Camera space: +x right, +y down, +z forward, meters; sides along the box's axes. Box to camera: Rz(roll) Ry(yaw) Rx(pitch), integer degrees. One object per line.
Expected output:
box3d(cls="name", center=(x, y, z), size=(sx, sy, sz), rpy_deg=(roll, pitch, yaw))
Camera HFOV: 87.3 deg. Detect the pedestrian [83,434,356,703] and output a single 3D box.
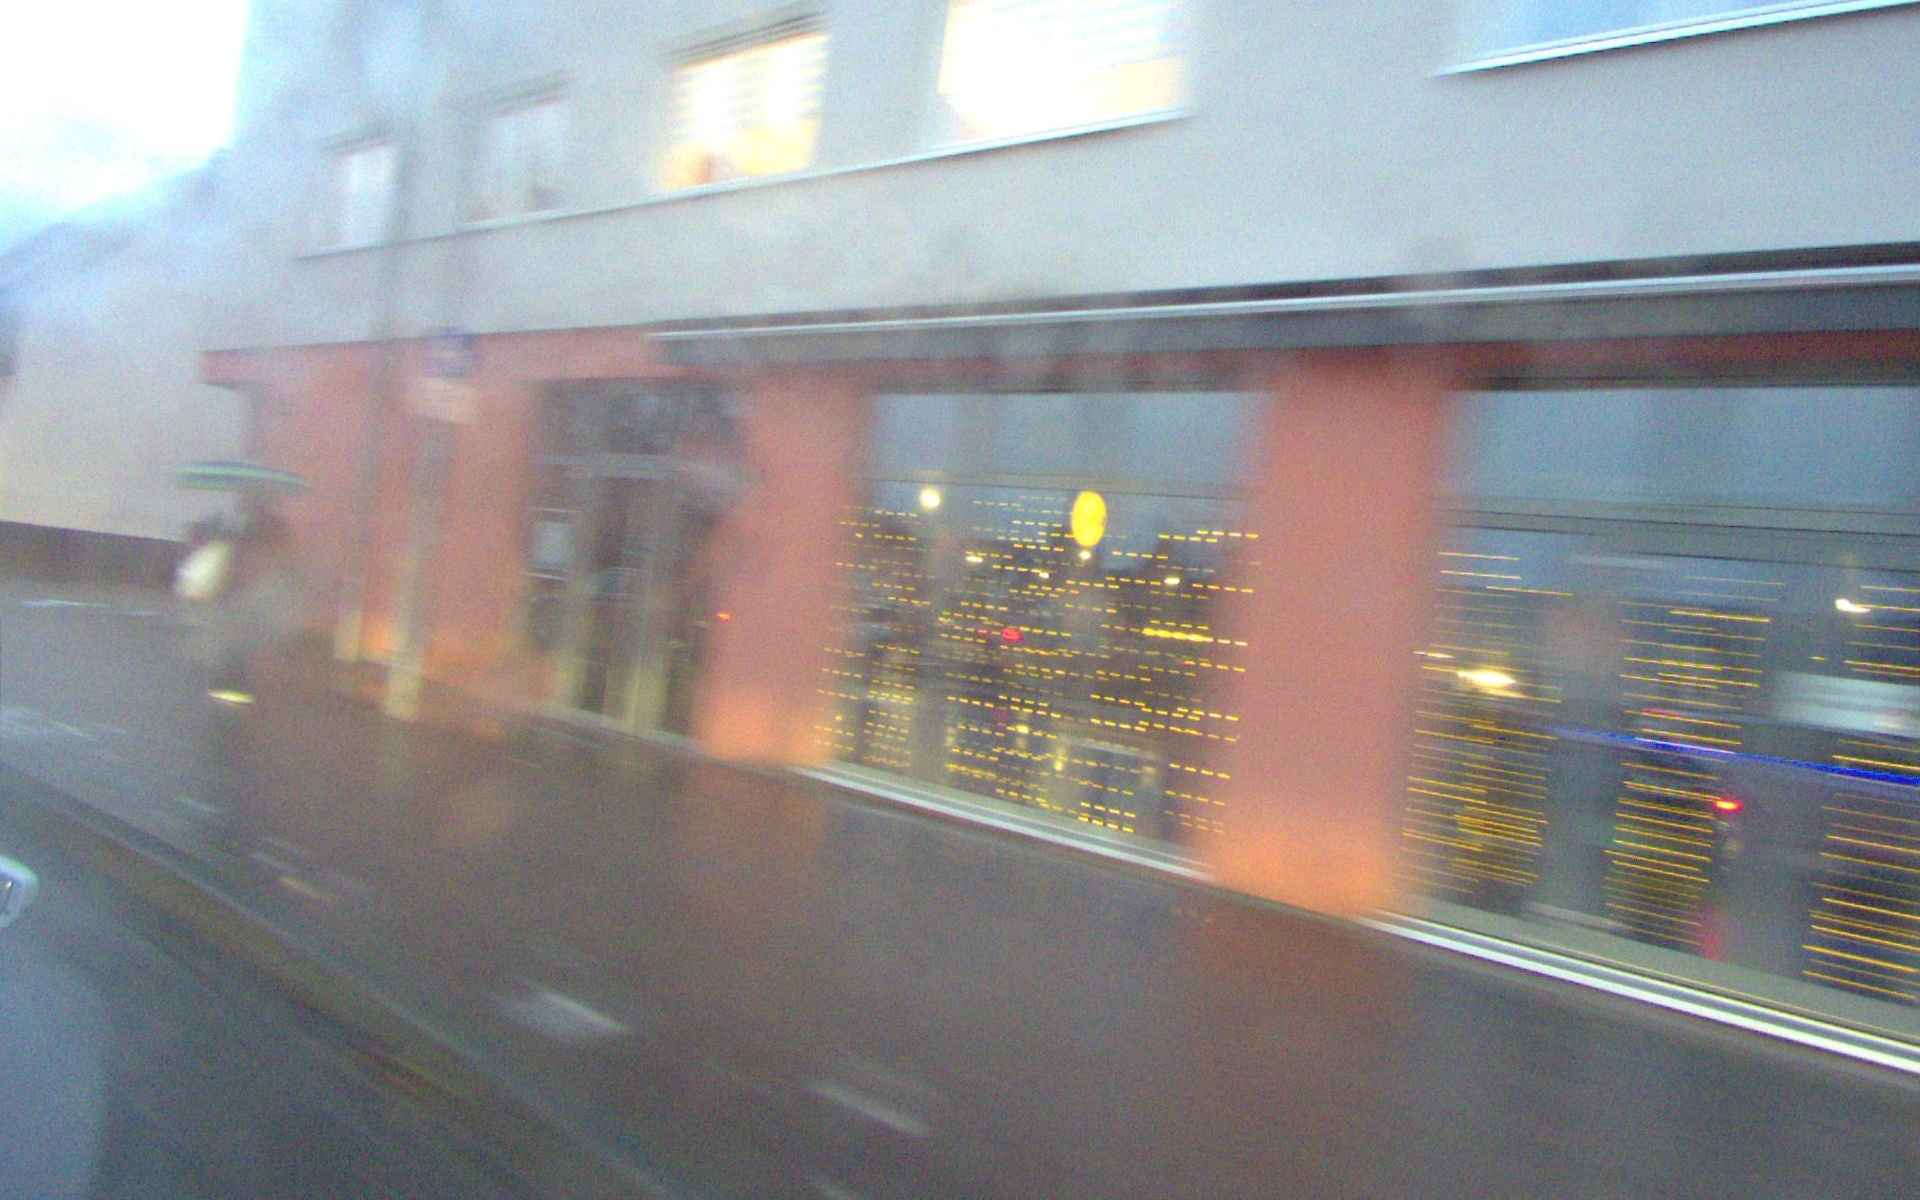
box3d(cls="pedestrian", center=(-5.838, -0.239, 7.958), size=(1.282, 1.890, 1.255), rpy_deg=(7, 1, 33))
